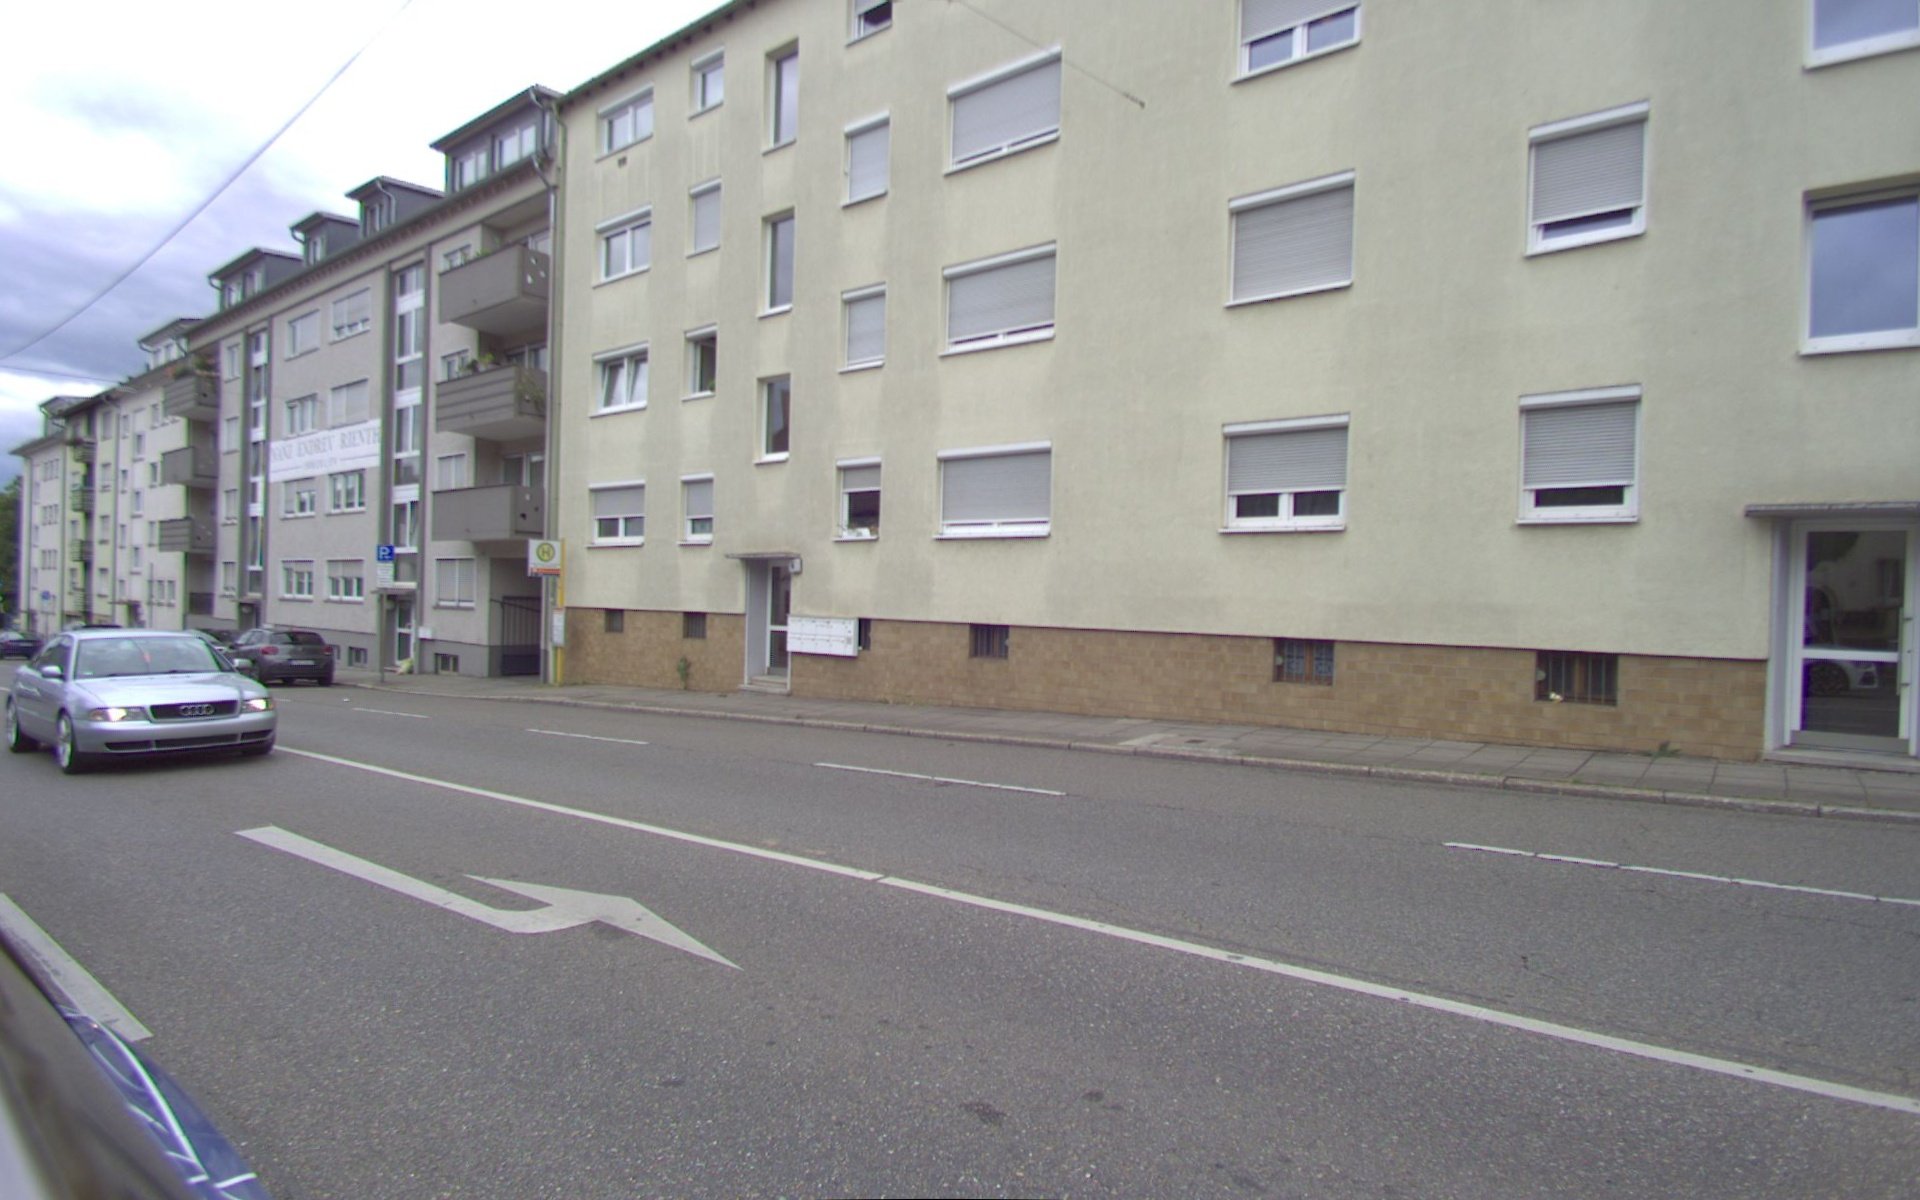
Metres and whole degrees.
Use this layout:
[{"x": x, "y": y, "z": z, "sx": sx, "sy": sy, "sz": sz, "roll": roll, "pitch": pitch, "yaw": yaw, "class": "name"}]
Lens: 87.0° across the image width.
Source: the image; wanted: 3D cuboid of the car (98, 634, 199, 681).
[{"x": -26.564, "y": 1.822, "z": 33.087, "sx": 4.304, "sy": 1.416, "sz": 1.750, "roll": -2, "pitch": -2, "yaw": 40, "class": "car"}]

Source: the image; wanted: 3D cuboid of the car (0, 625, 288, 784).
[{"x": -9.044, "y": 1.013, "z": 10.967, "sx": 4.171, "sy": 1.383, "sz": 1.680, "roll": -2, "pitch": -2, "yaw": 38, "class": "car"}]

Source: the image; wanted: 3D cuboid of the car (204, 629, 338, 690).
[{"x": -17.801, "y": 1.509, "z": 26.107, "sx": 3.797, "sy": 1.447, "sz": 1.751, "roll": -1, "pitch": -4, "yaw": 39, "class": "car"}]

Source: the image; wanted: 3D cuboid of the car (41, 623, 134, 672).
[{"x": -33.566, "y": 1.796, "z": 38.897, "sx": 4.302, "sy": 1.767, "sz": 1.852, "roll": -1, "pitch": -4, "yaw": 39, "class": "car"}]

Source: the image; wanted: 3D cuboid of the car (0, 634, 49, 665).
[{"x": -46.405, "y": 2.405, "z": 49.719, "sx": 4.305, "sy": 1.391, "sz": 1.851, "roll": -1, "pitch": -4, "yaw": 41, "class": "car"}]
